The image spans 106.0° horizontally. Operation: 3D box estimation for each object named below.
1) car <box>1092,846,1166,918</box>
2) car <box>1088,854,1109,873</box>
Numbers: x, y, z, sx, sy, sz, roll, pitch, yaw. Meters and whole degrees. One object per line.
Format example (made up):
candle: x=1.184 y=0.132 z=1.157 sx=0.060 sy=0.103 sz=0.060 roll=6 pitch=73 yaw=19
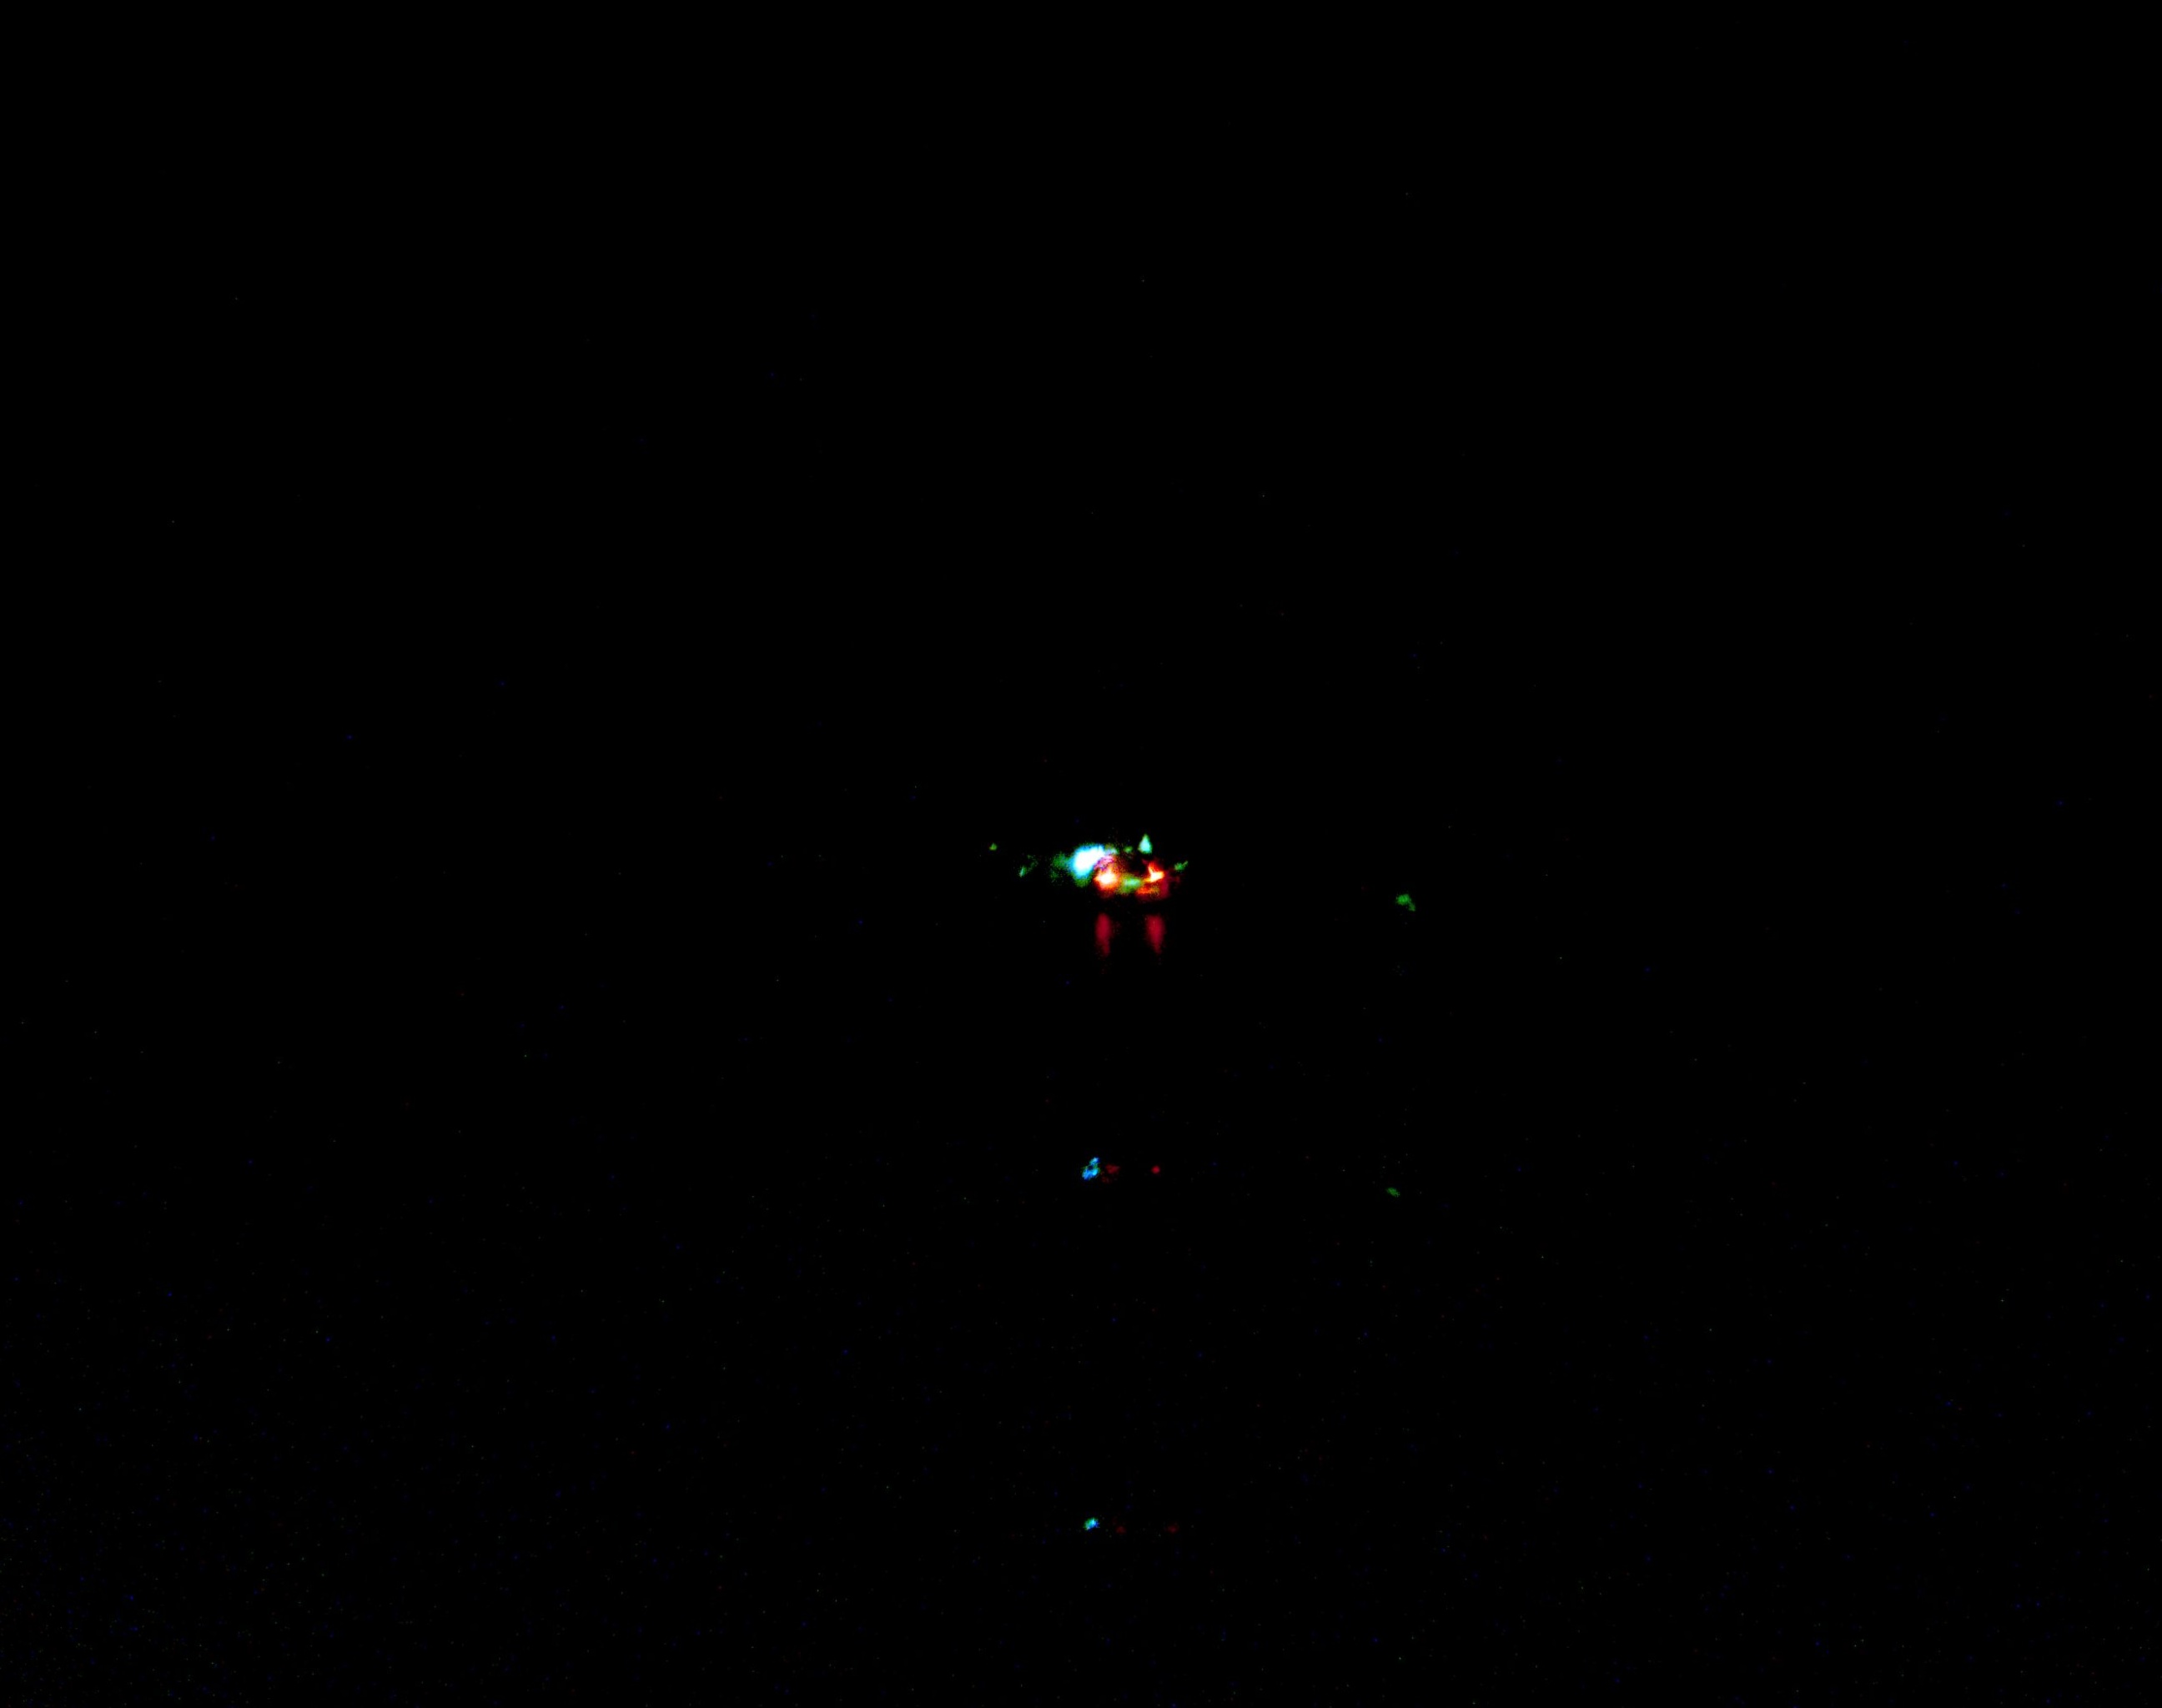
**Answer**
car: x=1.413 y=0.794 z=25.039 sx=2.085 sy=2.013 sz=4.001 roll=0 pitch=0 yaw=1
car: x=1.562 y=0.786 z=72.484 sx=1.802 sy=1.621 sz=4.001 roll=-1 pitch=0 yaw=1
